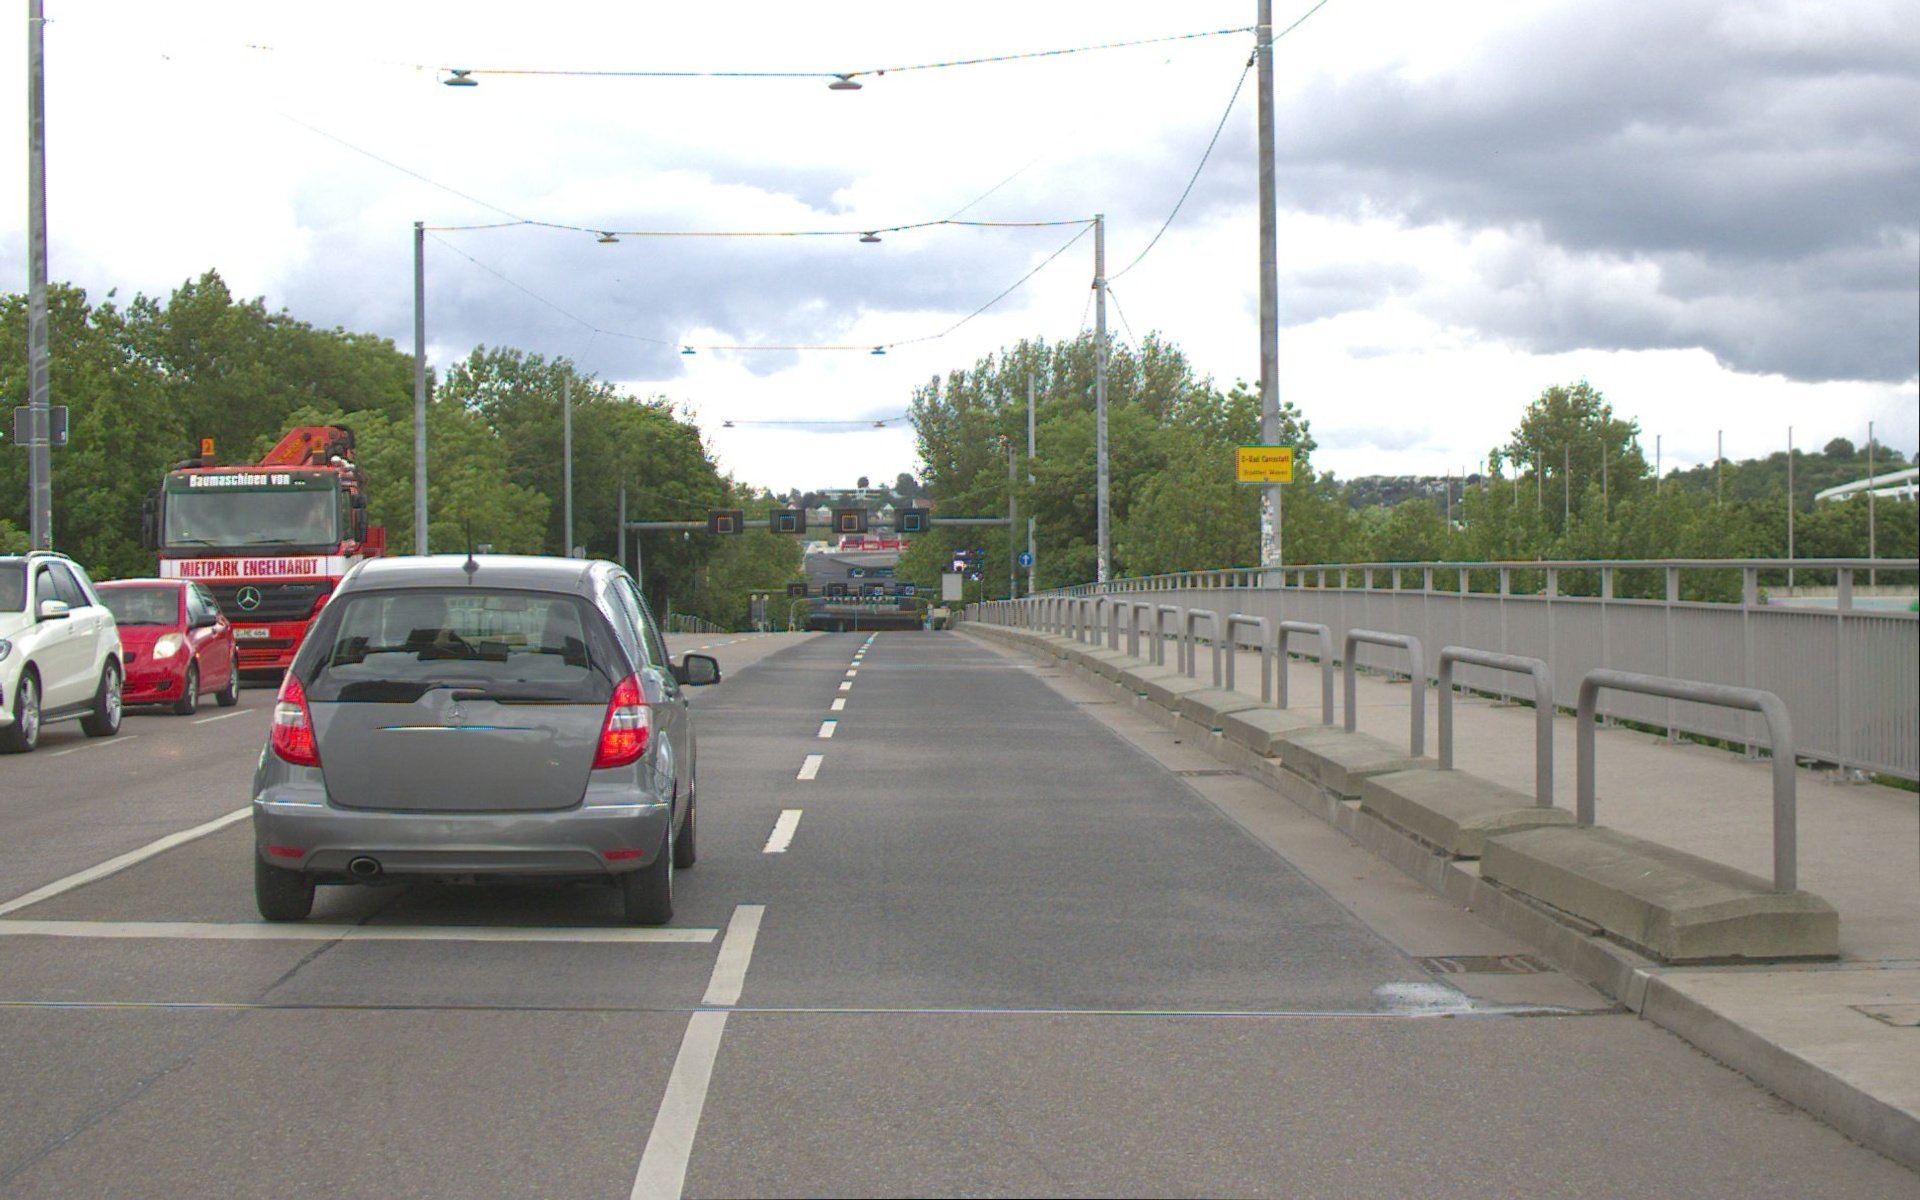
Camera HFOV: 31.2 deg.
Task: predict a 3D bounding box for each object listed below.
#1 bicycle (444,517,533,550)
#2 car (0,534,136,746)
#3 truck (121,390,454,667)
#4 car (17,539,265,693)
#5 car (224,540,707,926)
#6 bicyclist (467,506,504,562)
[{"bbox_3d":[-15.043,-2.132,109.770,2.790,1.047,0.921,0,0,-6],"label":"bicycle"},{"bbox_3d":[-8.870,0.308,30.799,1.880,1.755,4.803,-1,1,-1],"label":"car"},{"bbox_3d":[-9.536,-1.025,49.983,3.005,3.553,9.983,-1,1,-1],"label":"truck"},{"bbox_3d":[-9.141,0.134,38.680,1.880,1.597,4.016,-1,1,-1],"label":"car"},{"bbox_3d":[-2.137,0.505,15.804,1.745,1.545,3.871,1,1,-1],"label":"car"},{"bbox_3d":[-15.154,-2.097,109.744,1.132,1.758,0.905,0,0,-6],"label":"bicyclist"}]
